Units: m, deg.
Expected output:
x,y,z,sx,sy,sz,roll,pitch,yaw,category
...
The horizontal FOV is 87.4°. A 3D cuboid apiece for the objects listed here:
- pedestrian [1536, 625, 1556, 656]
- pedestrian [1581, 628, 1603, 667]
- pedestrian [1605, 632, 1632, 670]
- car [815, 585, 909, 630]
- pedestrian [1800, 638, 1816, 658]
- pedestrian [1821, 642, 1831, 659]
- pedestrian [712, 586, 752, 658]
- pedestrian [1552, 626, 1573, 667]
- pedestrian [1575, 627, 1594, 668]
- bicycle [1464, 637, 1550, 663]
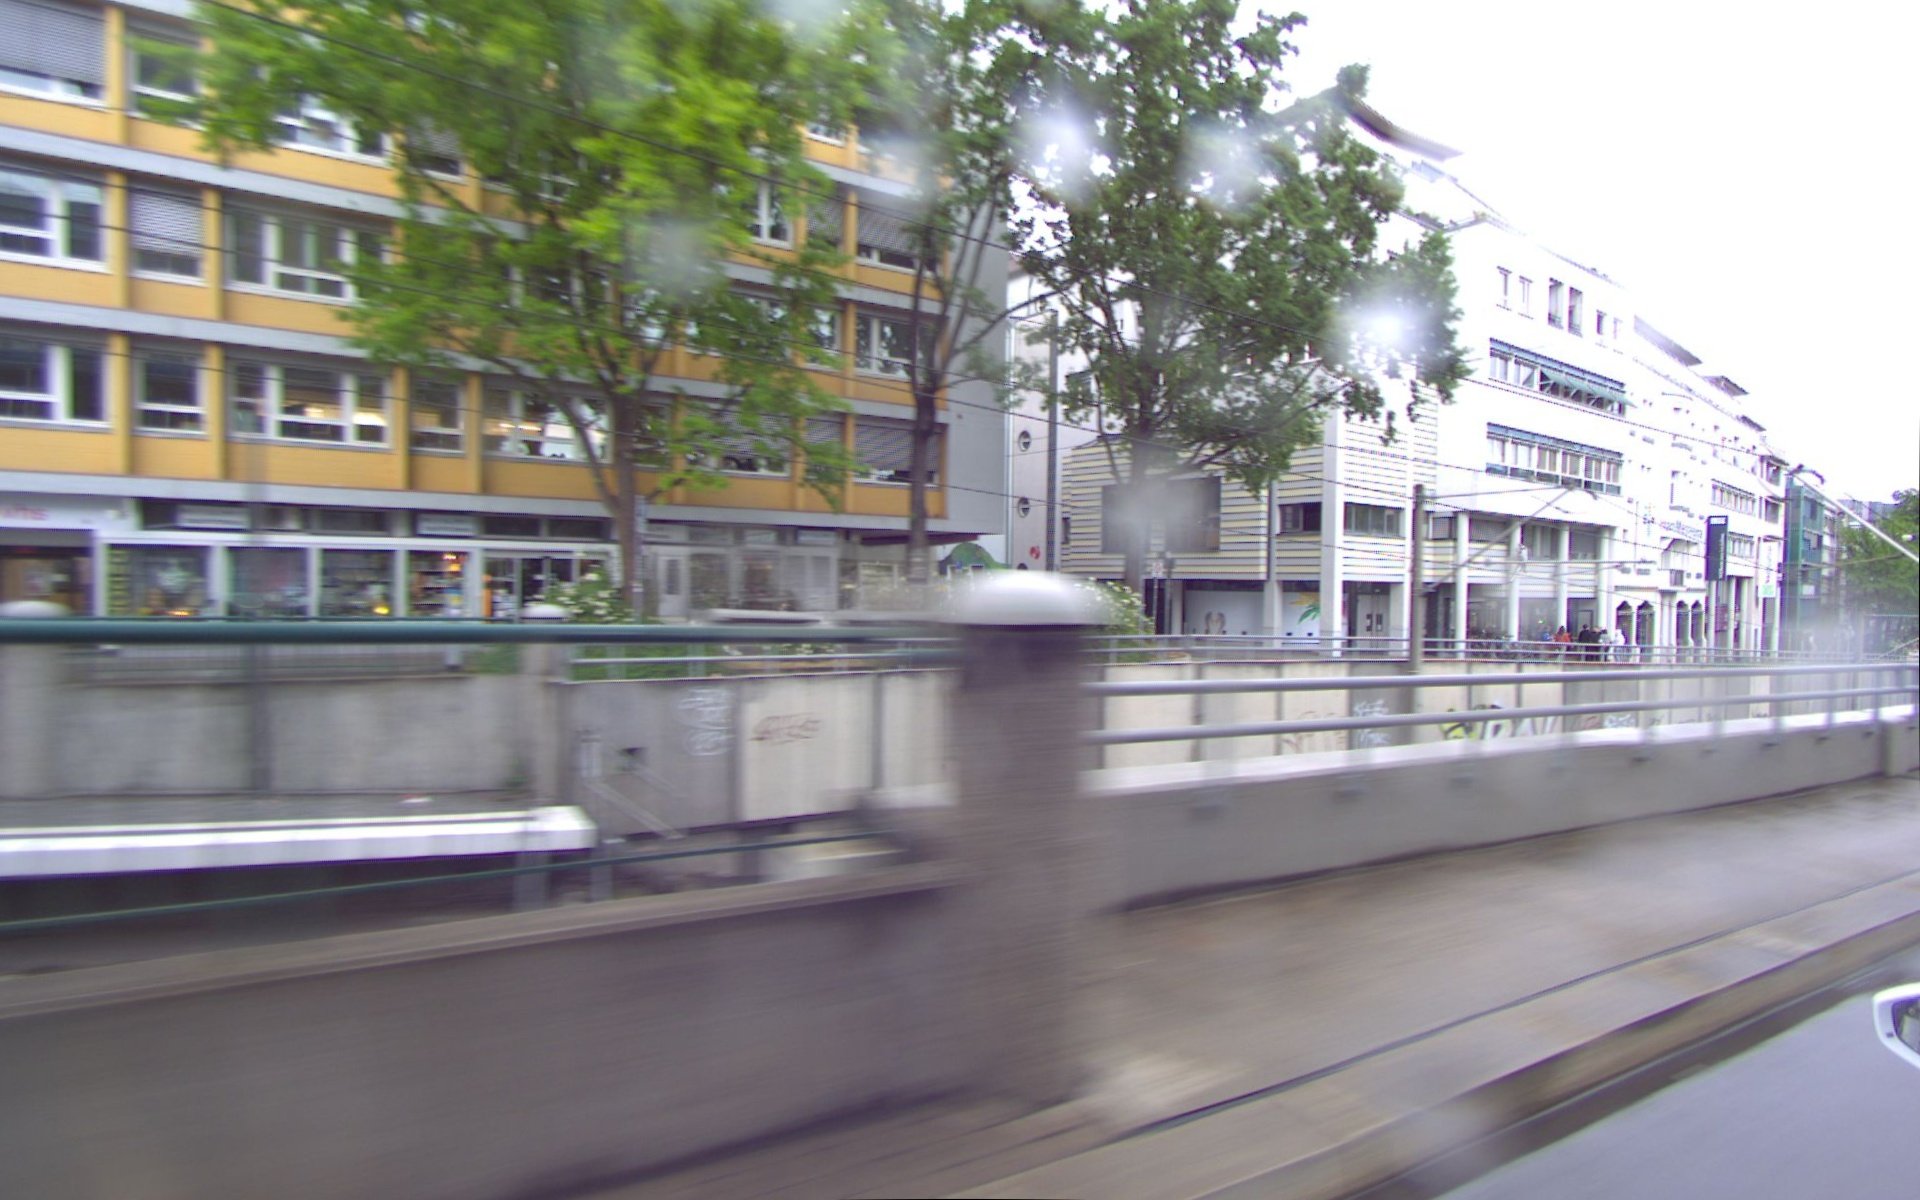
x,y,z,sx,sy,sz,roll,pitch,yaw,category
28.322,1.951,48.533,0.667,1.438,0.603,2,0,-37,pedestrian
29.442,2.201,46.797,0.660,1.745,0.610,2,0,8,pedestrian
29.883,2.303,45.600,0.660,1.664,0.796,2,0,5,pedestrian
-4.353,0.337,44.180,3.929,1.810,1.827,2,0,-11,car
85.072,4.839,100.801,0.946,1.893,0.862,2,0,-23,pedestrian
84.476,4.923,98.019,0.484,1.693,0.658,3,-1,-42,pedestrian
-6.017,0.590,26.508,0.821,1.873,0.661,2,-2,-33,pedestrian
24.880,1.905,41.463,0.662,1.637,0.940,2,0,33,pedestrian
28.509,2.147,45.846,0.662,1.809,0.940,2,0,33,pedestrian
23.976,2.172,43.994,4.482,1.057,1.680,1,-3,-38,bicycle
